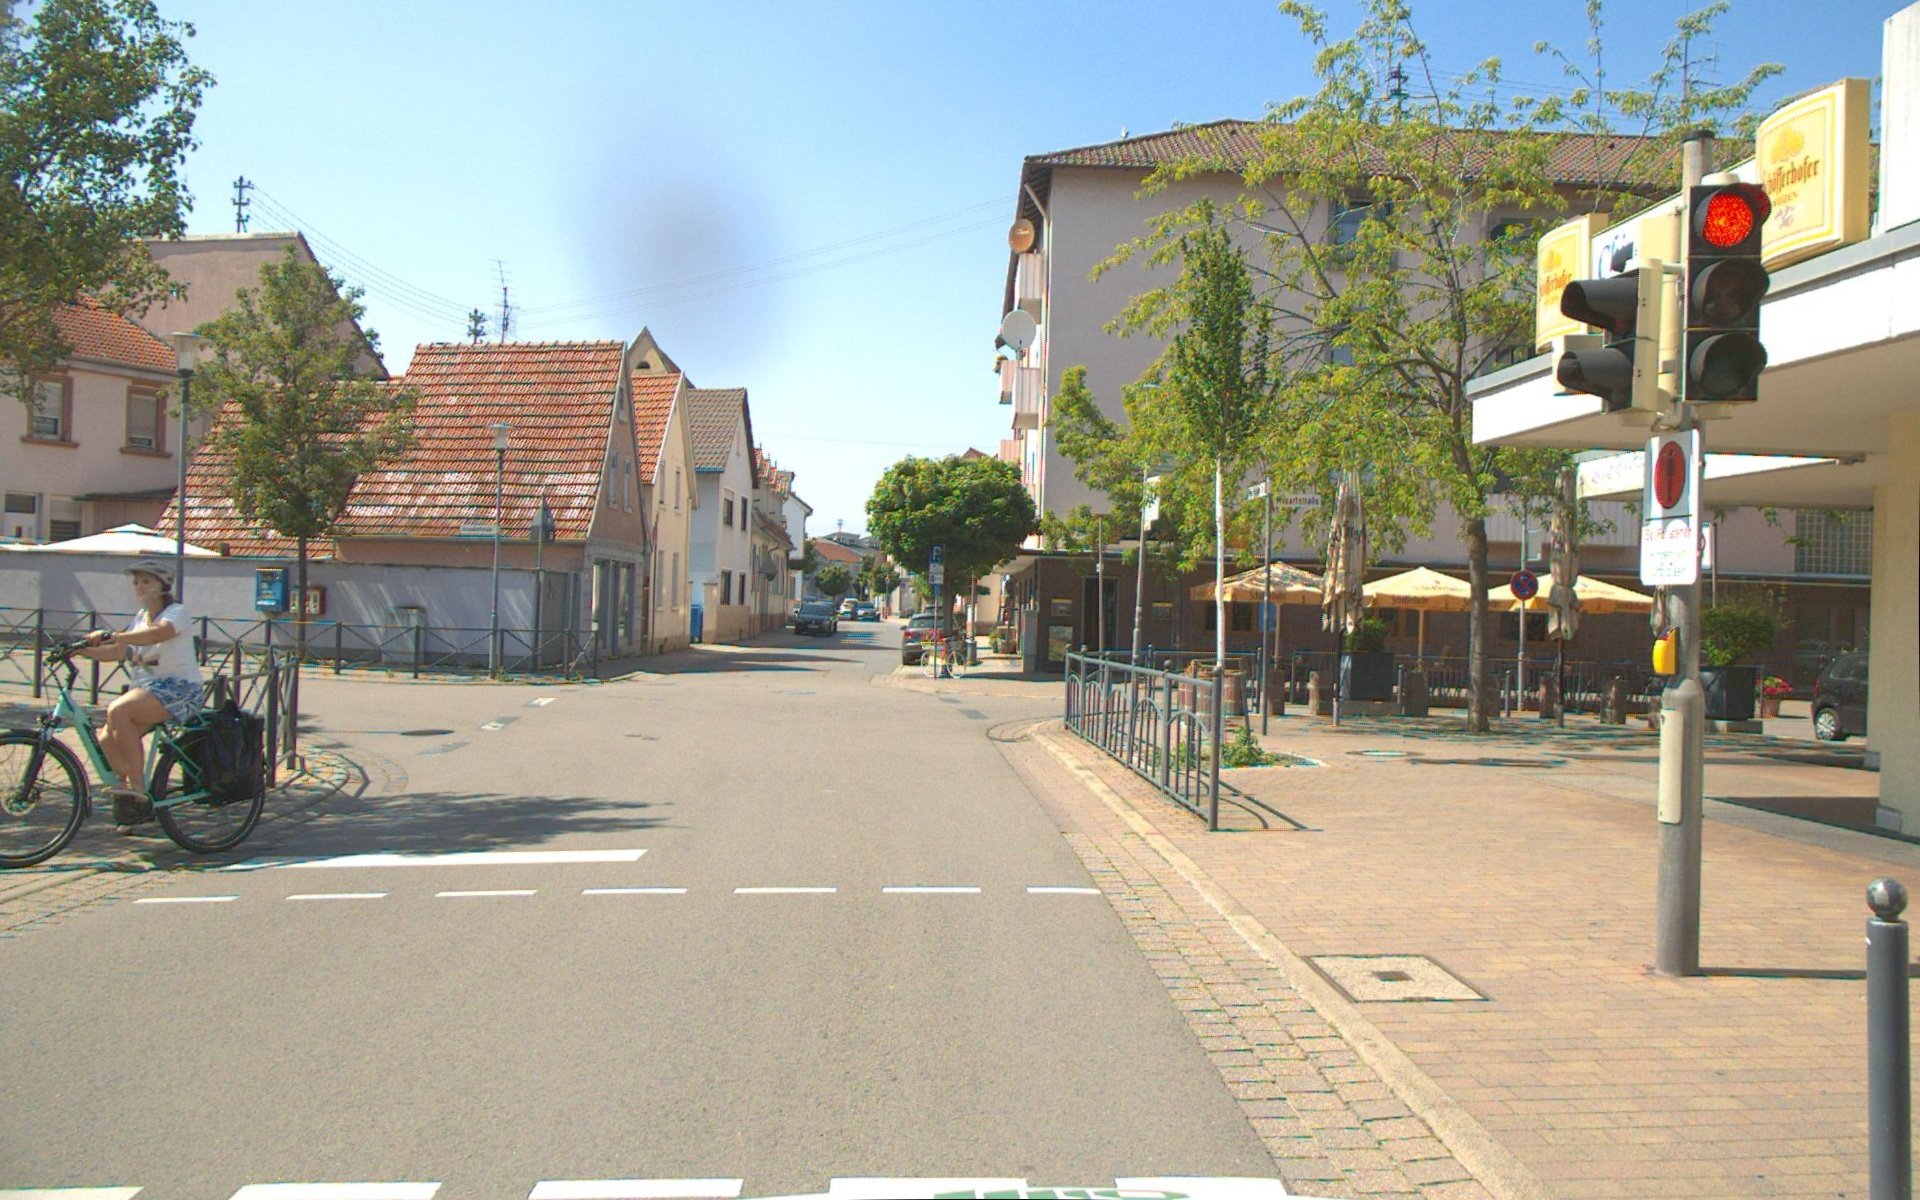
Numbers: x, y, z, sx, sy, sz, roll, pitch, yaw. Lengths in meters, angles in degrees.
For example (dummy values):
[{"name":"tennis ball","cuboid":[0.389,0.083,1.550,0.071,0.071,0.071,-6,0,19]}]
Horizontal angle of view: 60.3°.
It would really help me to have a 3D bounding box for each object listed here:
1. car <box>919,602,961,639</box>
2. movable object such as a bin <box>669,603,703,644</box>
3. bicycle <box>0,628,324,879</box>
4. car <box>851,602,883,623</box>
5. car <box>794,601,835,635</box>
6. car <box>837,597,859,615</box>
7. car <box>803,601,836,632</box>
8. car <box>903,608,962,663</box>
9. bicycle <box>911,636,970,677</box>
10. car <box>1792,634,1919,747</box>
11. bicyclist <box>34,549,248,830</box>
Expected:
[{"name":"car","cuboid":[-0.986,0.991,81.035,2.001,1.718,4.840,1,0,-1]},{"name":"movable object such as a bin","cuboid":[-9.372,0.804,56.623,1.078,1.389,0.390,1,-1,3]},{"name":"bicycle","cuboid":[-4.758,0.830,9.469,0.697,1.274,1.964,2,-1,36]},{"name":"car","cuboid":[-7.133,0.952,126.138,1.874,1.507,4.832,1,-1,-10]},{"name":"car","cuboid":[-6.851,0.836,78.081,1.629,1.502,4.133,1,0,-1]},{"name":"car","cuboid":[-10.703,0.586,157.290,1.987,1.626,4.504,1,0,-5]},{"name":"car","cuboid":[-7.173,0.825,84.630,1.630,1.502,3.447,1,0,-5]},{"name":"car","cuboid":[-0.750,0.987,47.172,1.543,1.479,3.486,1,-1,1]},{"name":"bicycle","cuboid":[-0.460,1.318,38.550,1.386,0.913,0.463,0,0,36]},{"name":"car","cuboid":[14.055,1.309,23.902,1.733,1.536,3.965,2,-1,-7]},{"name":"bicyclist","cuboid":[-4.733,0.495,9.585,0.701,1.533,0.868,-1,-1,33]}]
